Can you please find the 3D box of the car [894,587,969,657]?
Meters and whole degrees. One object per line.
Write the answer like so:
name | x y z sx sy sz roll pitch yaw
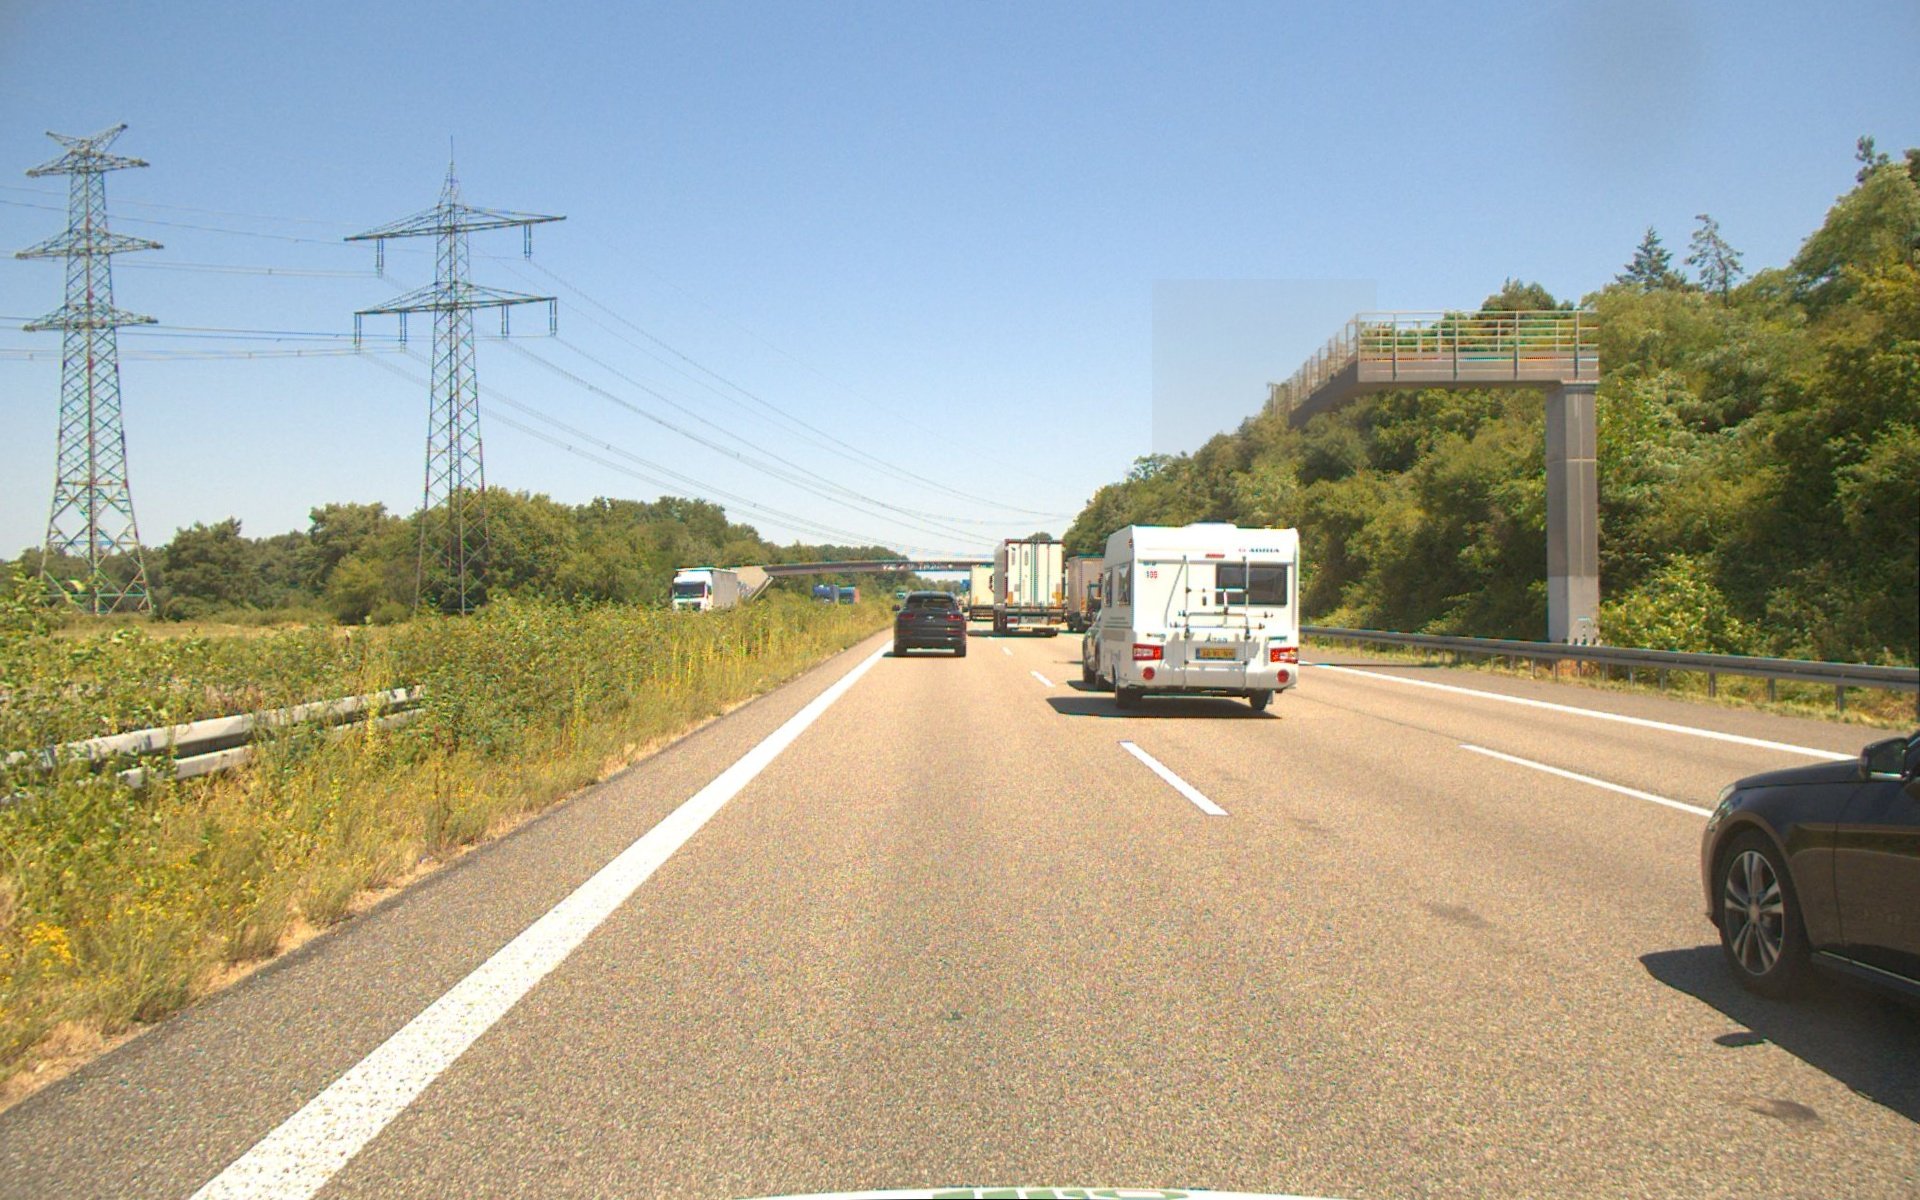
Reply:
car | -0.794 0.558 45.128 1.953 1.803 3.999 0 0 -2

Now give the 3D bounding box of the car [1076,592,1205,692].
car | 3.170 0.697 29.854 1.840 1.640 4.702 1 0 1

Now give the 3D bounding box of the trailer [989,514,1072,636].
trailer | 3.036 -1.006 74.843 3.024 4.970 12.256 1 0 0

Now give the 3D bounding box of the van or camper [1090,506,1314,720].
van or camper | 3.333 0.148 24.284 2.389 2.721 6.350 0 0 0

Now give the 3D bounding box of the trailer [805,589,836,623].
trailer | -19.428 0.812 230.584 3.025 4.484 14.229 -3 0 0

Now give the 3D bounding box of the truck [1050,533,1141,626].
truck | 6.730 -0.936 84.071 3.498 4.319 11.650 1 0 -1

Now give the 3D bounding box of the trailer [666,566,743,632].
trailer | -18.645 -0.081 121.948 3.299 4.485 14.319 -3 0 0

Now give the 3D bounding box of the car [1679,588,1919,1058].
car | 4.042 0.731 4.798 1.804 1.532 4.737 0 0 -1

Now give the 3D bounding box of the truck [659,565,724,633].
truck | -18.644 -0.057 115.204 3.299 4.485 6.556 -2 0 0

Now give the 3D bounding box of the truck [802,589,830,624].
truck | -19.376 0.836 223.451 3.025 4.484 6.800 -3 0 -1

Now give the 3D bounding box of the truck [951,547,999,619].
truck | 1.107 -1.225 127.097 3.440 5.257 10.257 1 0 -1

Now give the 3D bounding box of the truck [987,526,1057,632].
truck | 3.010 -0.967 82.124 3.024 4.970 6.596 1 0 -1
